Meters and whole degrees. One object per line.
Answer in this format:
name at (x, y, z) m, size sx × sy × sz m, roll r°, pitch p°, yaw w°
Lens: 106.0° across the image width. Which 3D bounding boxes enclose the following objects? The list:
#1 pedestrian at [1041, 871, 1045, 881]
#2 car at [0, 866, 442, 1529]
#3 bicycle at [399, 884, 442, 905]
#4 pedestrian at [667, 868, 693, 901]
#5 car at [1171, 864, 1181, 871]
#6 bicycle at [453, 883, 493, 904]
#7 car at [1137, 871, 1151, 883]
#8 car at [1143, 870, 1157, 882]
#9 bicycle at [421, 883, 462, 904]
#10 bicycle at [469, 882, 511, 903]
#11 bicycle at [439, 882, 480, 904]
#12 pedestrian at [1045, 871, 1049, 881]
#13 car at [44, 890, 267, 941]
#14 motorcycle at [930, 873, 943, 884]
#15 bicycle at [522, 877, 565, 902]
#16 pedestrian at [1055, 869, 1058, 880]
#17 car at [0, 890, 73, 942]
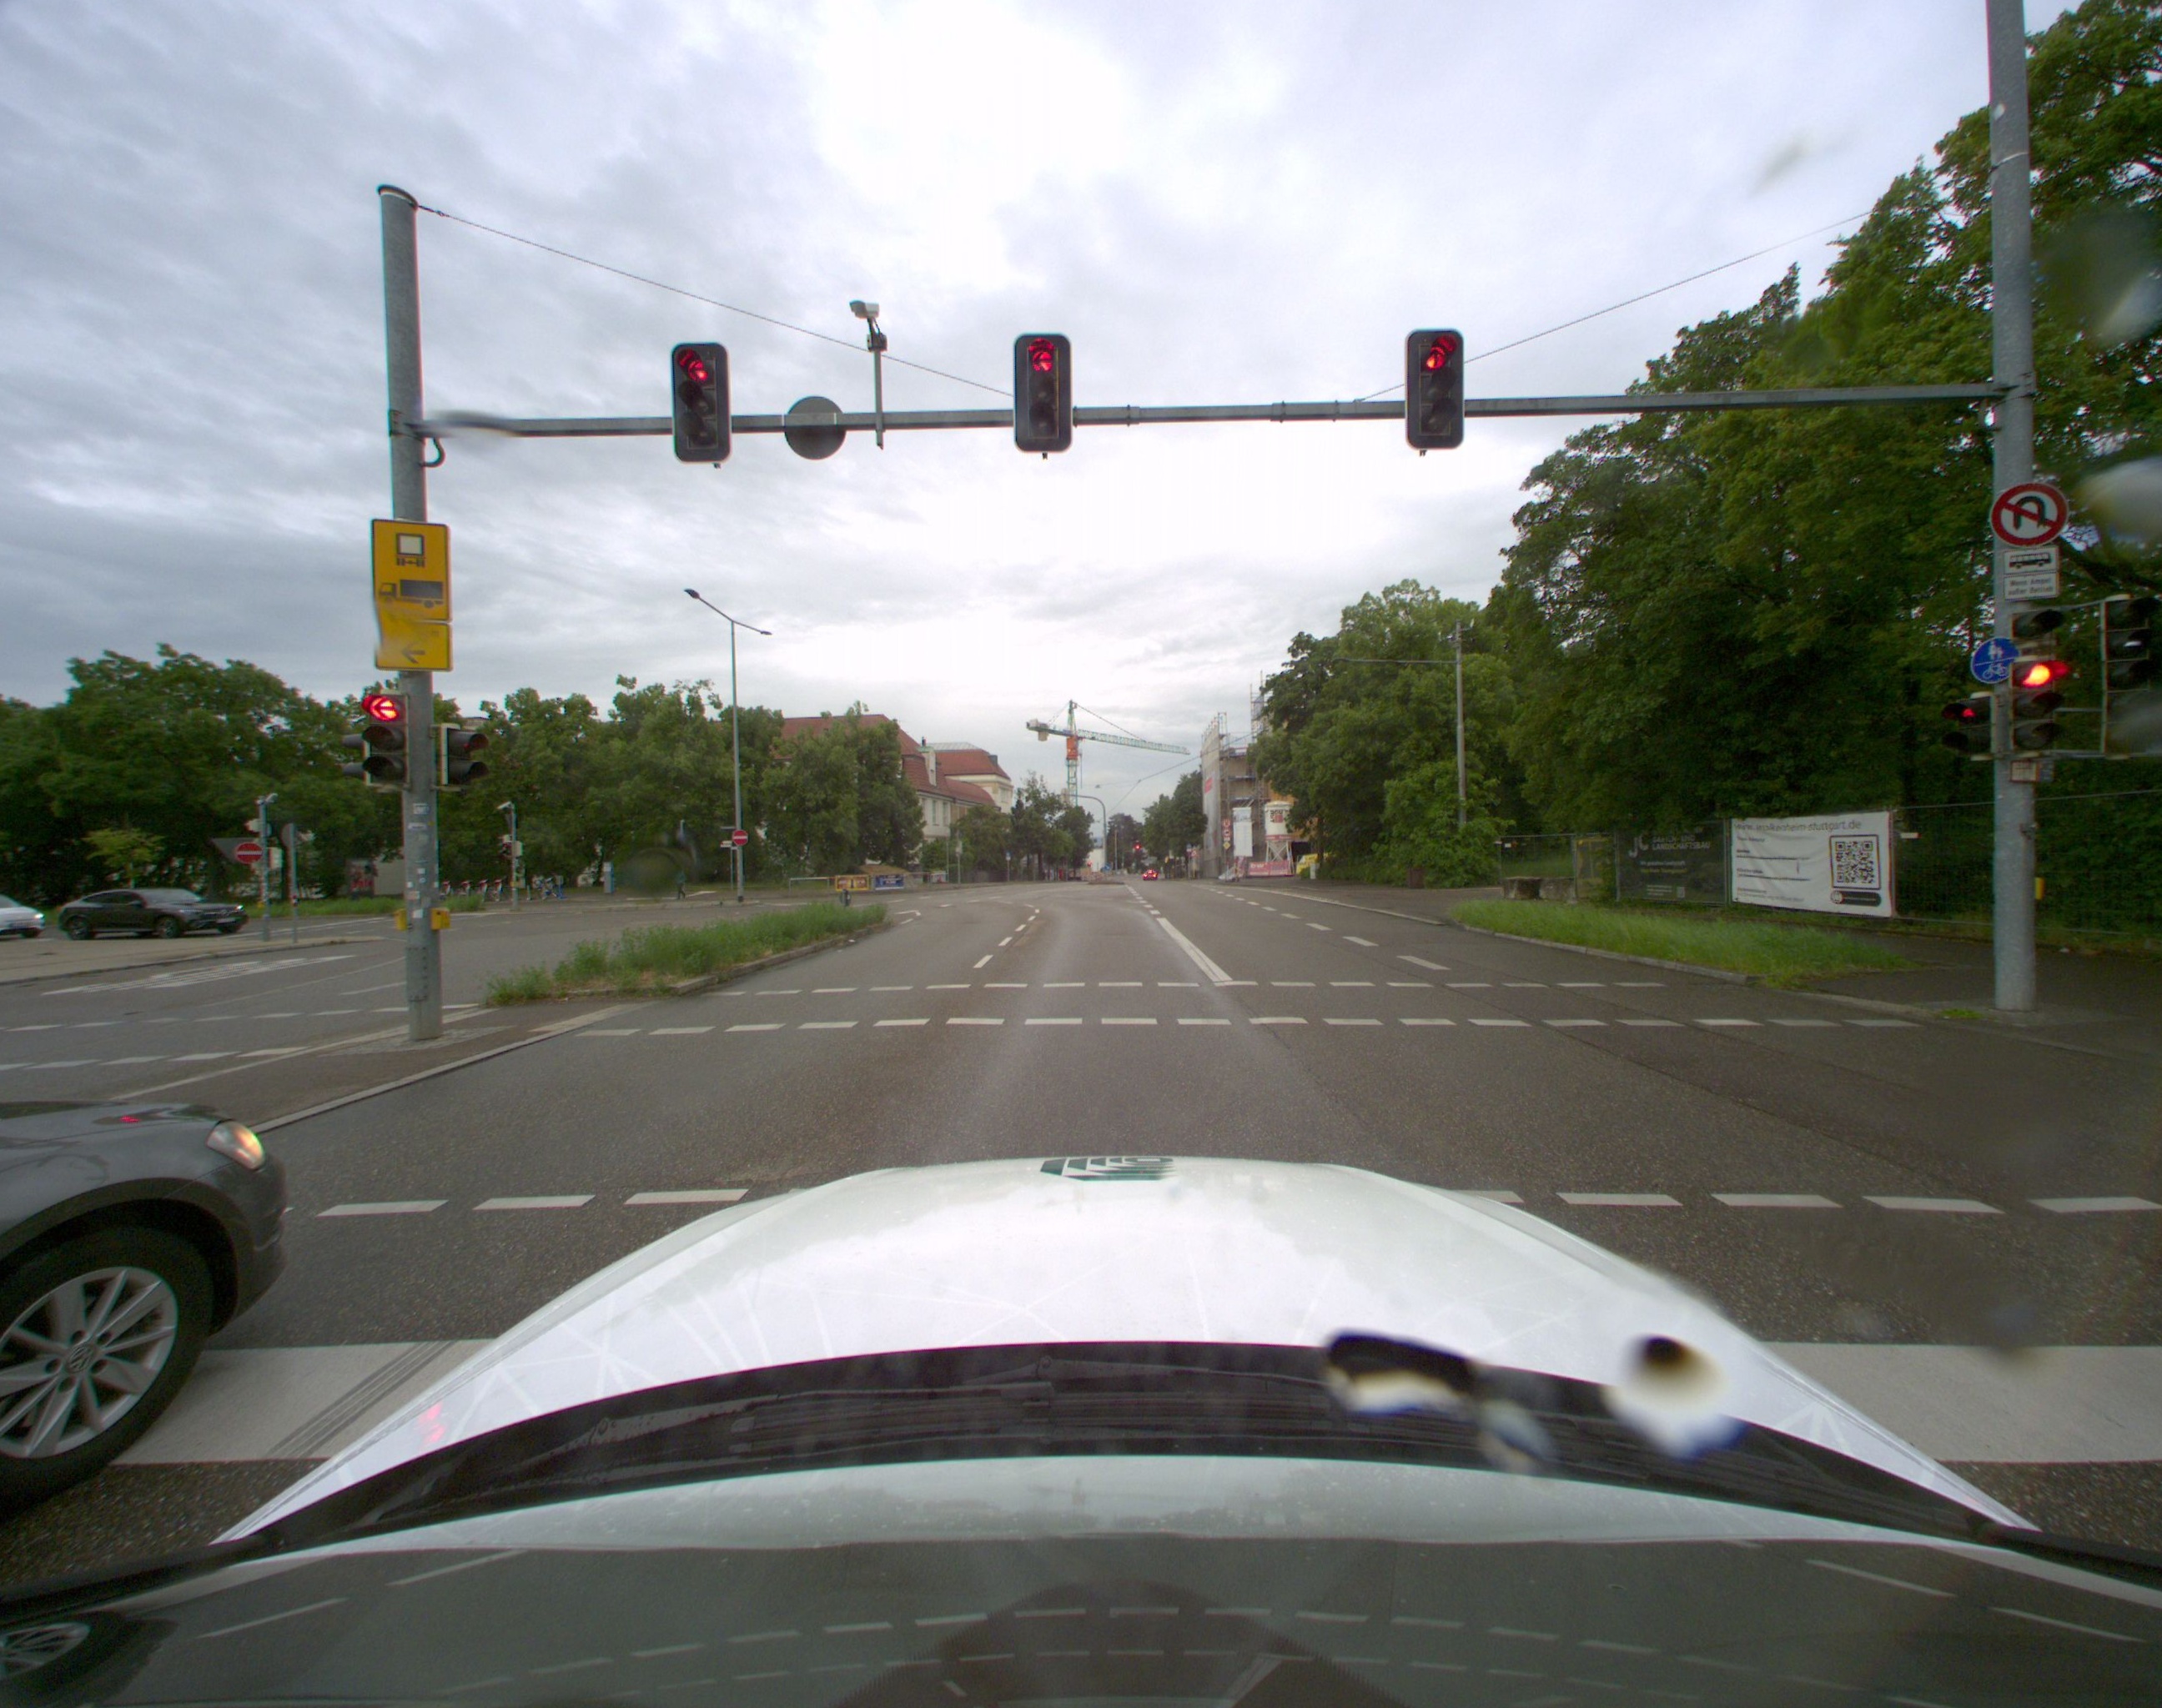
pedestrian at (-5.515, 3.152, 117.124) m, size 0.473 × 1.396 × 0.411 m, roll -2°, pitch -1°, yaw 1°
car at (-3.392, 0.804, 0.884) m, size 1.809 × 1.481 × 4.378 m, roll -2°, pitch 0°, yaw 2°
bicycle at (-35.961, 2.180, 44.362) m, size 0.649 × 1.071 × 1.982 m, roll 0°, pitch -1°, yaw 2°
pedestrian at (-21.740, 1.642, 44.155) m, size 0.917 × 1.727 × 0.948 m, roll -1°, pitch -1°, yaw 7°
car at (25.538, 3.509, 218.929) m, size 1.980 × 1.750 × 4.014 m, roll -2°, pitch 0°, yaw 13°
bicycle at (-33.015, 2.121, 44.271) m, size 0.649 × 1.071 × 1.982 m, roll 0°, pitch -1°, yaw 2°
car at (10.234, 3.666, 131.895) m, size 1.986 × 1.750 × 4.001 m, roll -2°, pitch 0°, yaw 1°
car at (10.541, 3.375, 124.668) m, size 1.986 × 1.750 × 4.001 m, roll -2°, pitch 0°, yaw 1°
bicycle at (-34.984, 2.145, 44.577) m, size 0.649 × 1.071 × 1.982 m, roll 0°, pitch -1°, yaw 2°
bicycle at (-32.266, 2.069, 44.503) m, size 0.798 × 1.071 × 1.982 m, roll 0°, pitch -1°, yaw 2°
bicycle at (-33.905, 2.117, 44.446) m, size 0.649 × 1.071 × 1.982 m, roll 0°, pitch -1°, yaw 2°
pedestrian at (-4.852, 3.129, 117.181) m, size 0.473 × 1.396 × 0.411 m, roll -2°, pitch -1°, yaw 1°
car at (-30.073, 1.987, 26.582) m, size 5.006 × 1.500 × 2.001 m, roll 0°, pitch -1°, yaw 1°
motorcycle at (-11.595, 1.938, 65.318) m, size 0.846 × 0.877 × 0.877 m, roll 0°, pitch -1°, yaw 1°
bicycle at (-29.433, 1.927, 44.612) m, size 0.987 × 1.249 × 1.982 m, roll 0°, pitch -1°, yaw 2°
pedestrian at (-3.641, 2.994, 121.206) m, size 0.492 × 1.645 × 0.533 m, roll 0°, pitch -1°, yaw -4°
car at (-36.494, 2.039, 27.047) m, size 3.539 × 1.594 × 2.001 m, roll 0°, pitch -1°, yaw 1°
